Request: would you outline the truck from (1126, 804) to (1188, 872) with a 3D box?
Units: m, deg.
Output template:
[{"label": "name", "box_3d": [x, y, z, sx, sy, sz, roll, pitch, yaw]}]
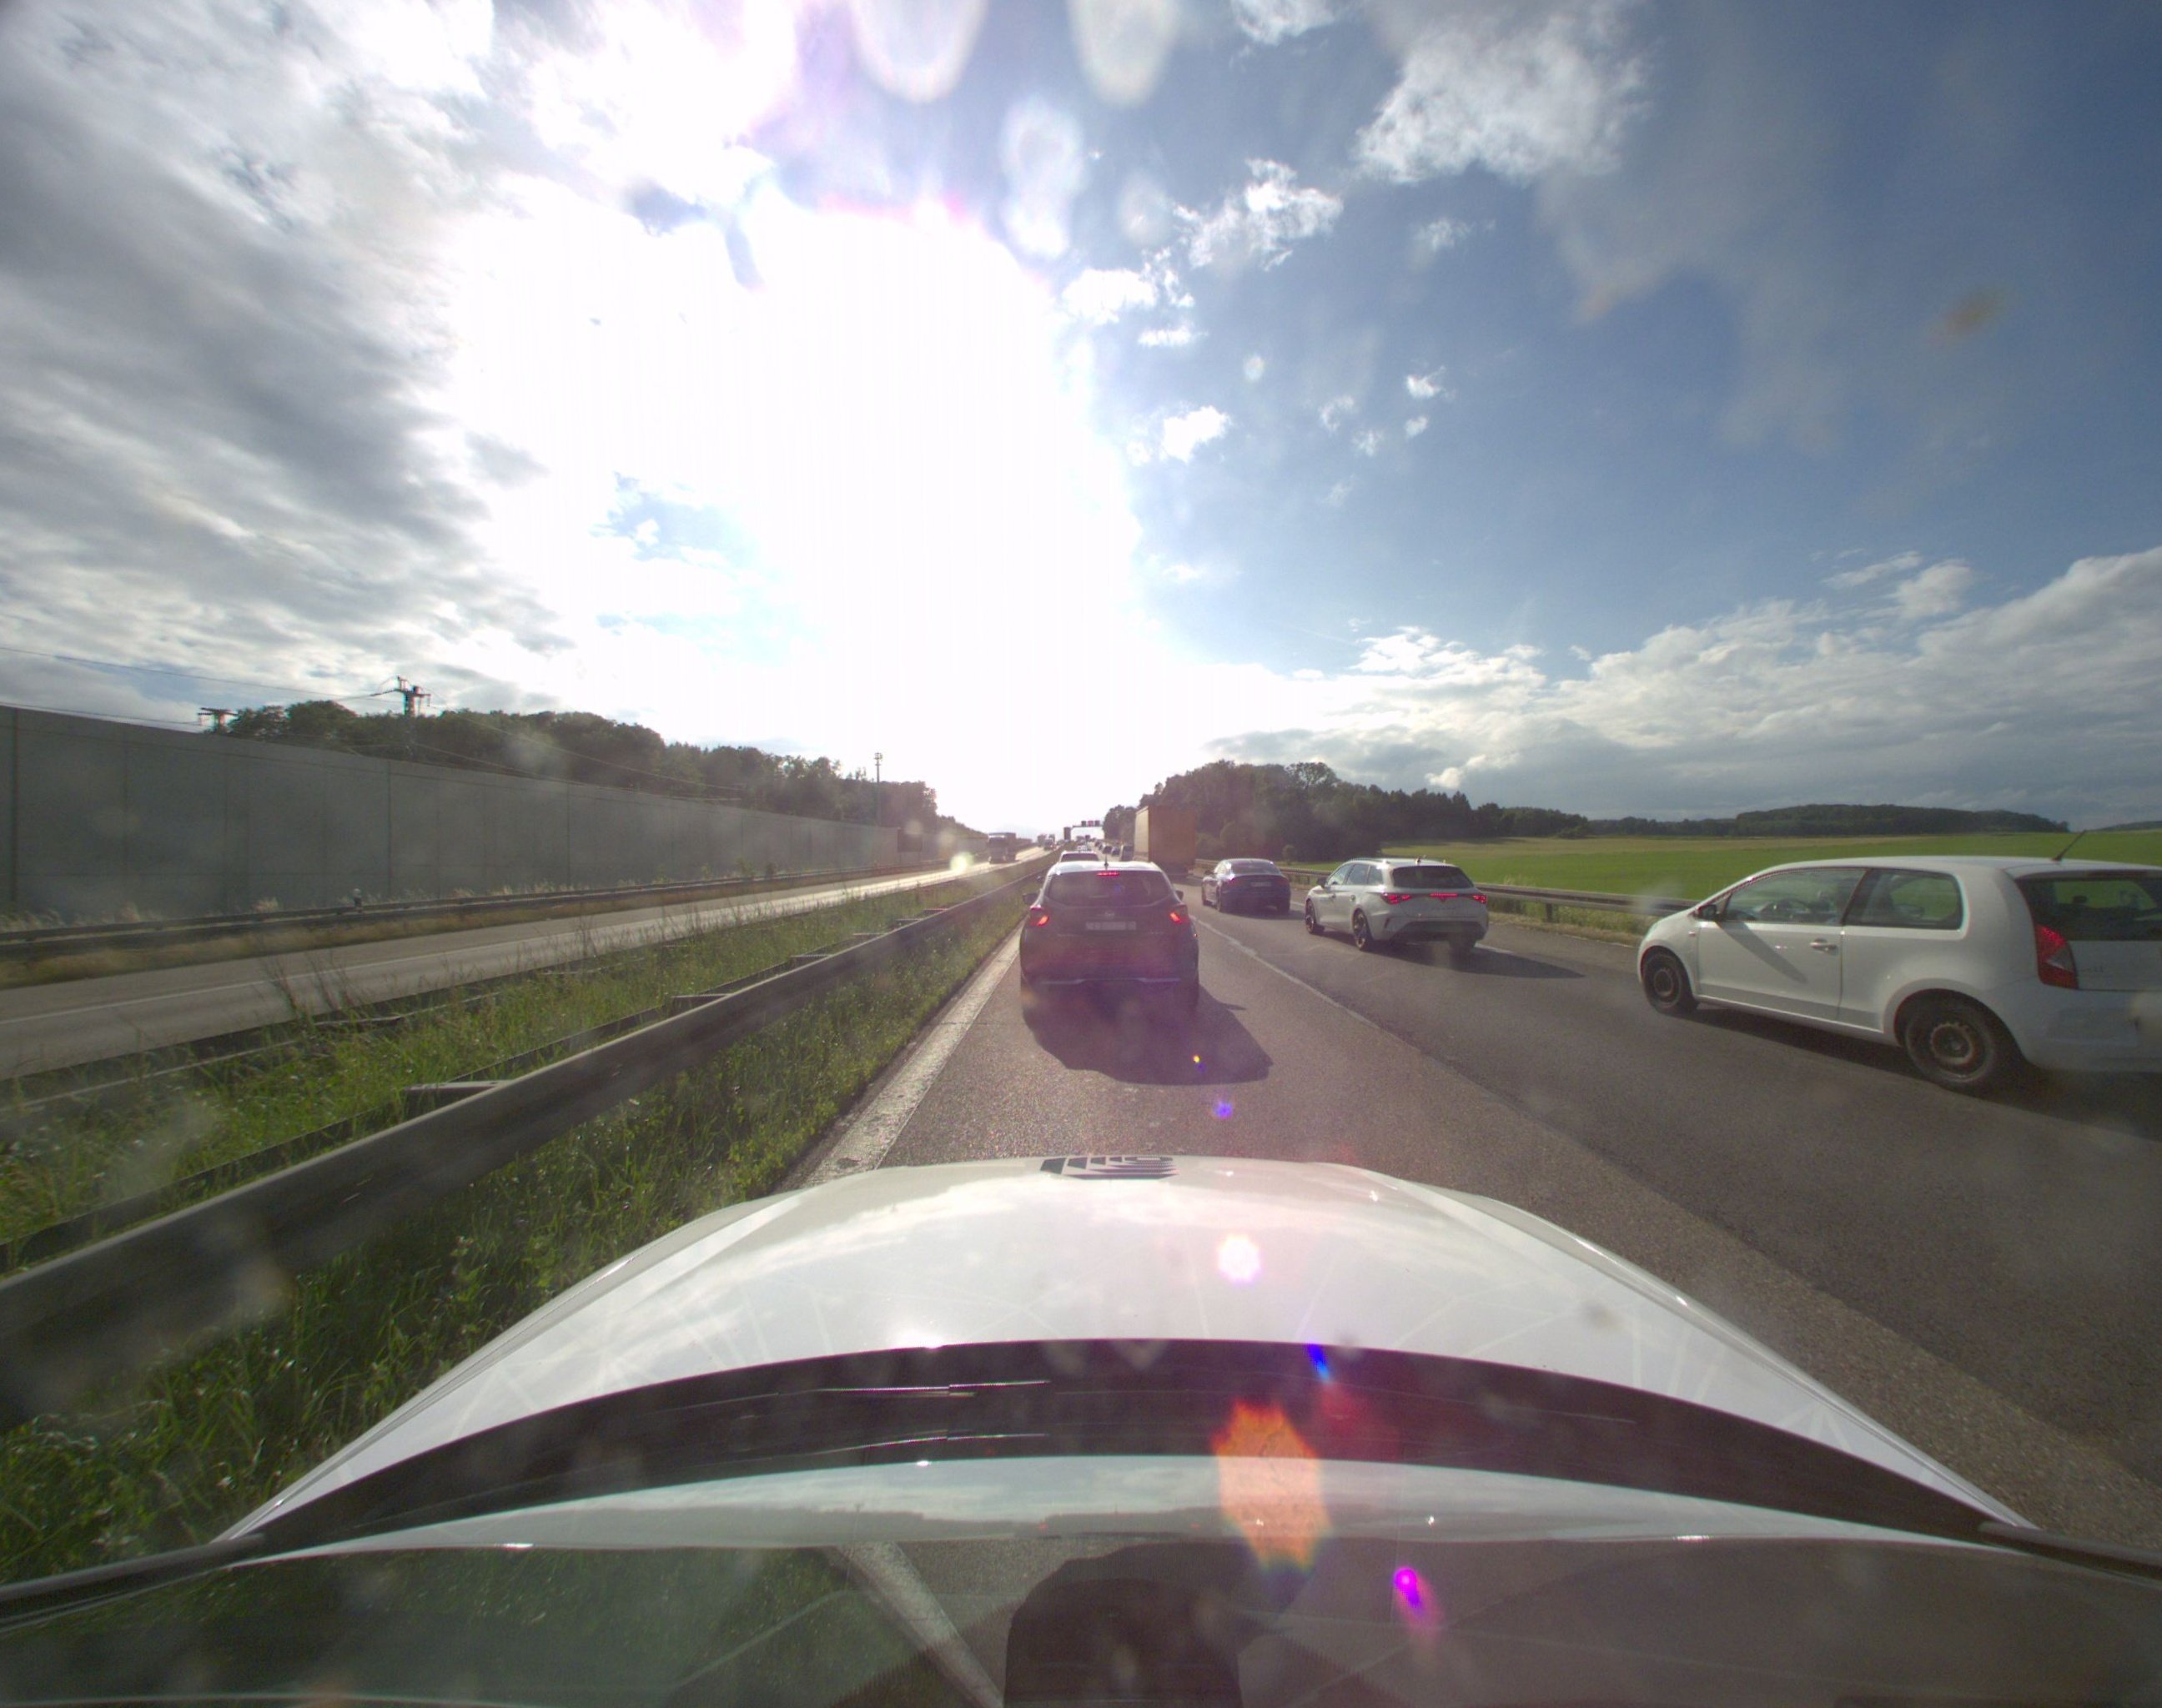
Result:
[{"label": "truck", "box_3d": [5.081, -1.019, 55.986, 3.571, 4.380, 6.686, 0, -1, -1]}]

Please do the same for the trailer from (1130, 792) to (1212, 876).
[{"label": "trailer", "box_3d": [5.147, -1.021, 49.692, 3.538, 4.457, 12.718, 0, -1, 0]}]

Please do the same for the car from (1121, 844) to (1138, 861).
[{"label": "car", "box_3d": [5.224, -0.132, 87.900, 1.661, 1.755, 3.328, 0, -1, 2]}]

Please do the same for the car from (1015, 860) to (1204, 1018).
[{"label": "car", "box_3d": [0.314, 0.790, 9.105, 1.703, 1.426, 3.379, -1, -1, 2]}]

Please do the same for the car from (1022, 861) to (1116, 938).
[{"label": "car", "box_3d": [-0.177, 0.835, 16.454, 1.668, 1.367, 3.597, -1, -1, 1]}]

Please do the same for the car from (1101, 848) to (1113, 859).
[{"label": "car", "box_3d": [4.728, -0.118, 147.064, 1.987, 2.014, 3.998, 0, -1, -1]}]

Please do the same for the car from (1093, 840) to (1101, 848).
[{"label": "car", "box_3d": [4.000, -2.507, 206.368, 1.987, 2.014, 3.998, 0, -1, -1]}]

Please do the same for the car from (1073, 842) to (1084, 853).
[{"label": "car", "box_3d": [-0.524, -1.204, 158.348, 1.987, 2.014, 3.998, 0, -1, -1]}]

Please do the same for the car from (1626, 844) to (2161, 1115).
[{"label": "car", "box_3d": [6.095, 0.681, 6.233, 1.544, 1.495, 3.376, 0, 0, -1]}]

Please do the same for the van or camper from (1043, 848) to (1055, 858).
[{"label": "van or camper", "box_3d": [-7.221, -0.239, 182.612, 2.158, 2.205, 6.260, 0, -1, 2]}]

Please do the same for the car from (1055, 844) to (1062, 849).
[{"label": "car", "box_3d": [-6.943, -2.423, 250.433, 1.986, 1.486, 4.399, 0, -1, 1]}]

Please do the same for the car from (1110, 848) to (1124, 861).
[{"label": "car", "box_3d": [5.705, 0.165, 129.117, 1.987, 2.014, 3.998, 0, -1, -1]}]

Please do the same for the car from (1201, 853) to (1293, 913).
[{"label": "car", "box_3d": [4.405, 0.740, 22.205, 1.741, 1.475, 4.147, -1, -1, 1]}]

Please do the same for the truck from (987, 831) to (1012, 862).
[{"label": "truck", "box_3d": [-10.910, -0.970, 109.714, 2.629, 4.098, 7.000, 0, -1, 0]}]

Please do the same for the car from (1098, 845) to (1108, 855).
[{"label": "car", "box_3d": [4.665, -0.874, 171.390, 1.987, 2.014, 3.998, 0, -1, -1]}]

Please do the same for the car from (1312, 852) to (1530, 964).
[{"label": "car", "box_3d": [5.061, 0.726, 12.773, 1.616, 1.445, 4.144, -1, -1, -1]}]

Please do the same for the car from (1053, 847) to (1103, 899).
[{"label": "car", "box_3d": [-0.058, 0.645, 29.030, 1.668, 1.726, 3.597, -1, -1, 1]}]

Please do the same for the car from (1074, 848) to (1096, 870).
[{"label": "car", "box_3d": [0.327, 0.453, 75.957, 1.987, 2.014, 3.998, 0, -1, -1]}]
